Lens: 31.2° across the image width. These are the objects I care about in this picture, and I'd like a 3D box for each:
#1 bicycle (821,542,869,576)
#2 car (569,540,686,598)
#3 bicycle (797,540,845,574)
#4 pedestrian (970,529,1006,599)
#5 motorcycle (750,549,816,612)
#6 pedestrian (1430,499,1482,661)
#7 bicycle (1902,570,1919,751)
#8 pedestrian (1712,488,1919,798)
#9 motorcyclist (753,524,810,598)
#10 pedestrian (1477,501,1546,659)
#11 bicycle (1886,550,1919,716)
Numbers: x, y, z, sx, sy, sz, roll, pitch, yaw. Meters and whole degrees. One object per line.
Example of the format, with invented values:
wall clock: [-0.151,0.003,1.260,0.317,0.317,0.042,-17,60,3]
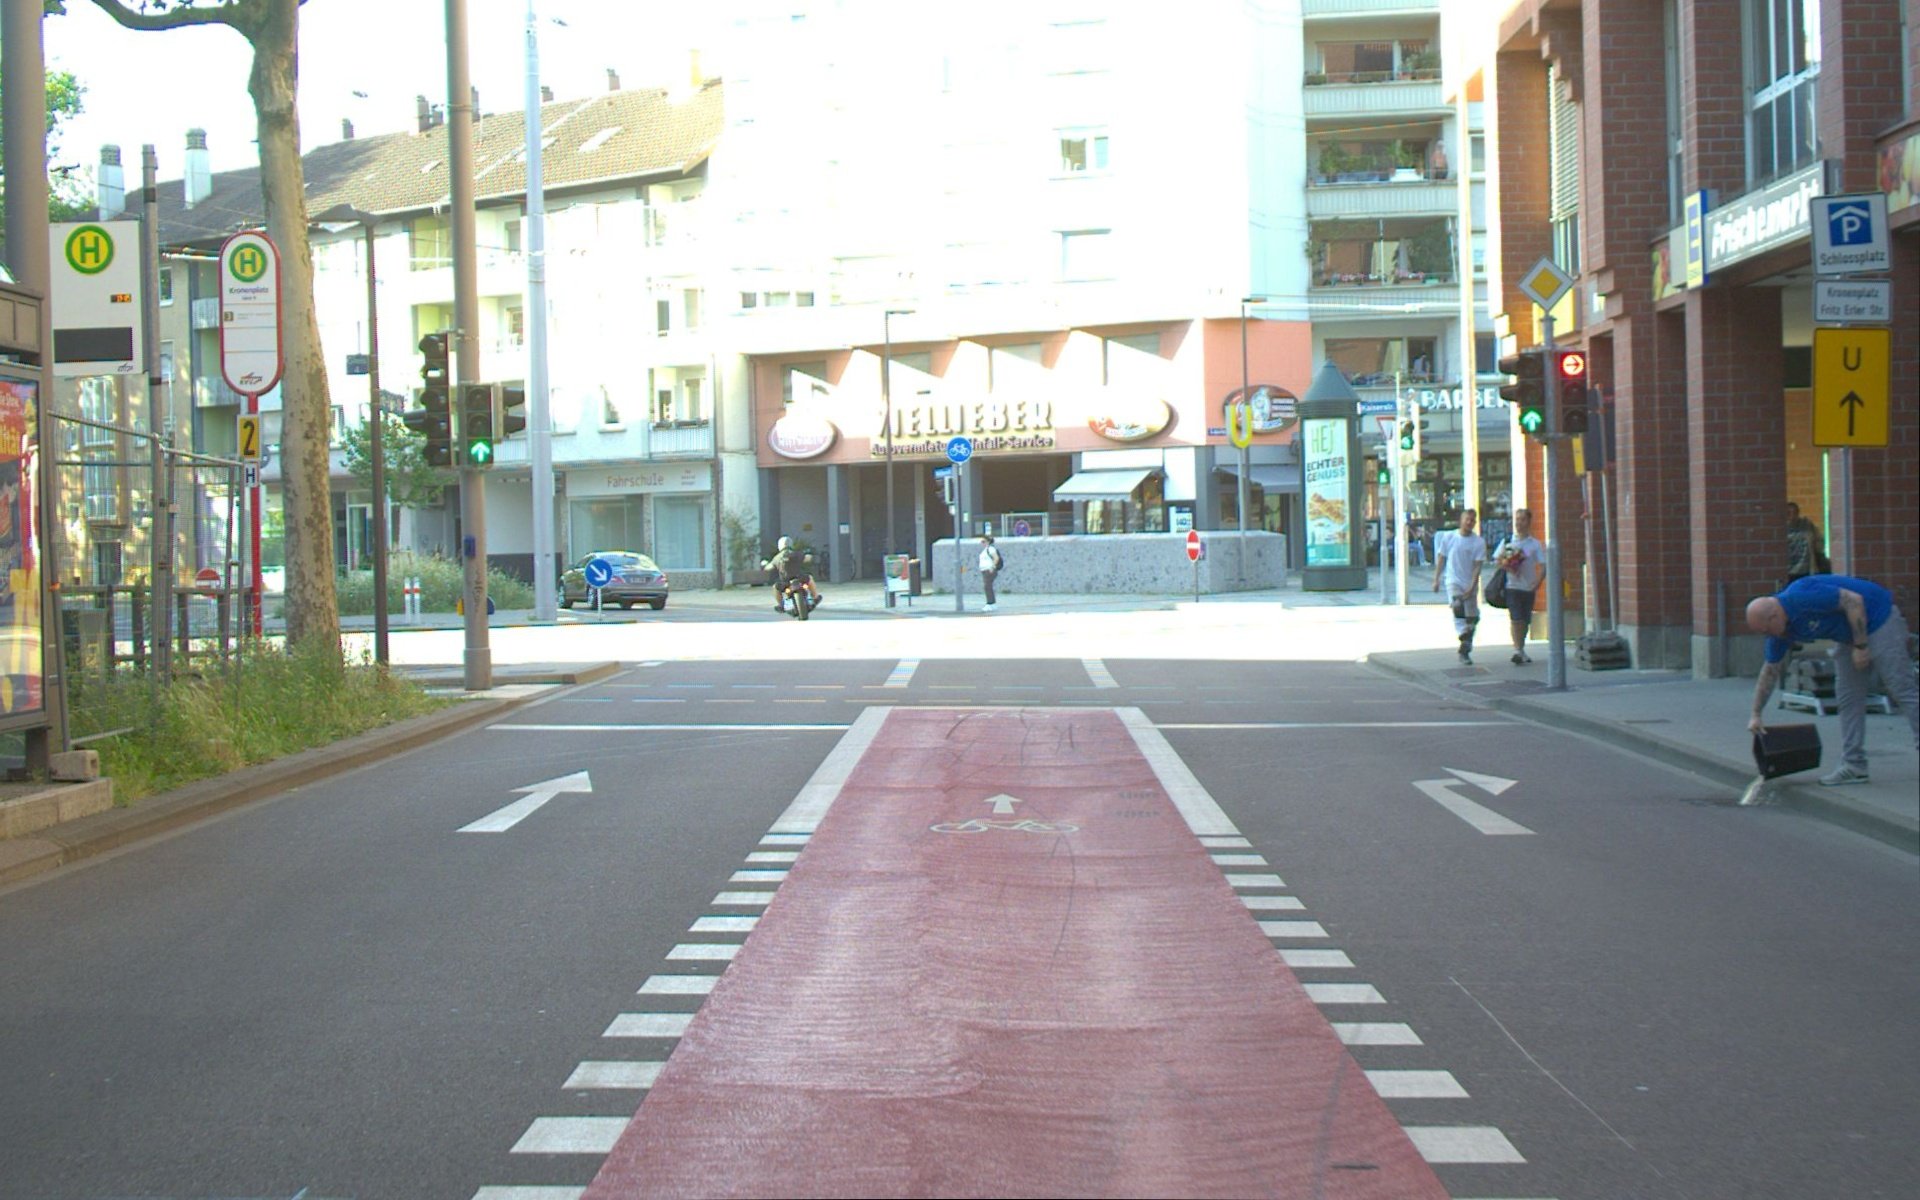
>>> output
bicycle: [-3.501,-1.245,104.458,0.495,1.035,1.637,-1,1,-44]
car: [-8.295,-0.784,85.432,1.923,1.384,4.001,-2,1,-20]
bicycle: [-4.217,-1.297,104.042,0.495,1.035,1.637,-1,1,-44]
pedestrian: [0.639,-0.810,78.162,0.539,1.578,0.557,-2,1,-42]
motorcycle: [-3.264,-0.366,63.126,0.973,1.128,2.806,0,1,-8]
pedestrian: [5.545,-0.225,38.437,0.476,1.786,0.541,-1,1,1]
bicycle: [6.890,0.346,21.400,1.891,1.115,0.475,-2,1,1]
pedestrian: [5.043,0.229,19.763,1.195,1.690,0.885,-3,1,4]
motorcyclist: [-3.289,-0.723,63.215,0.970,1.342,1.138,0,1,-8]
pedestrian: [6.092,-0.221,38.007,0.633,1.719,0.630,-1,1,1]
bicycle: [7.075,0.237,24.849,0.339,1.179,1.678,-1,1,2]
